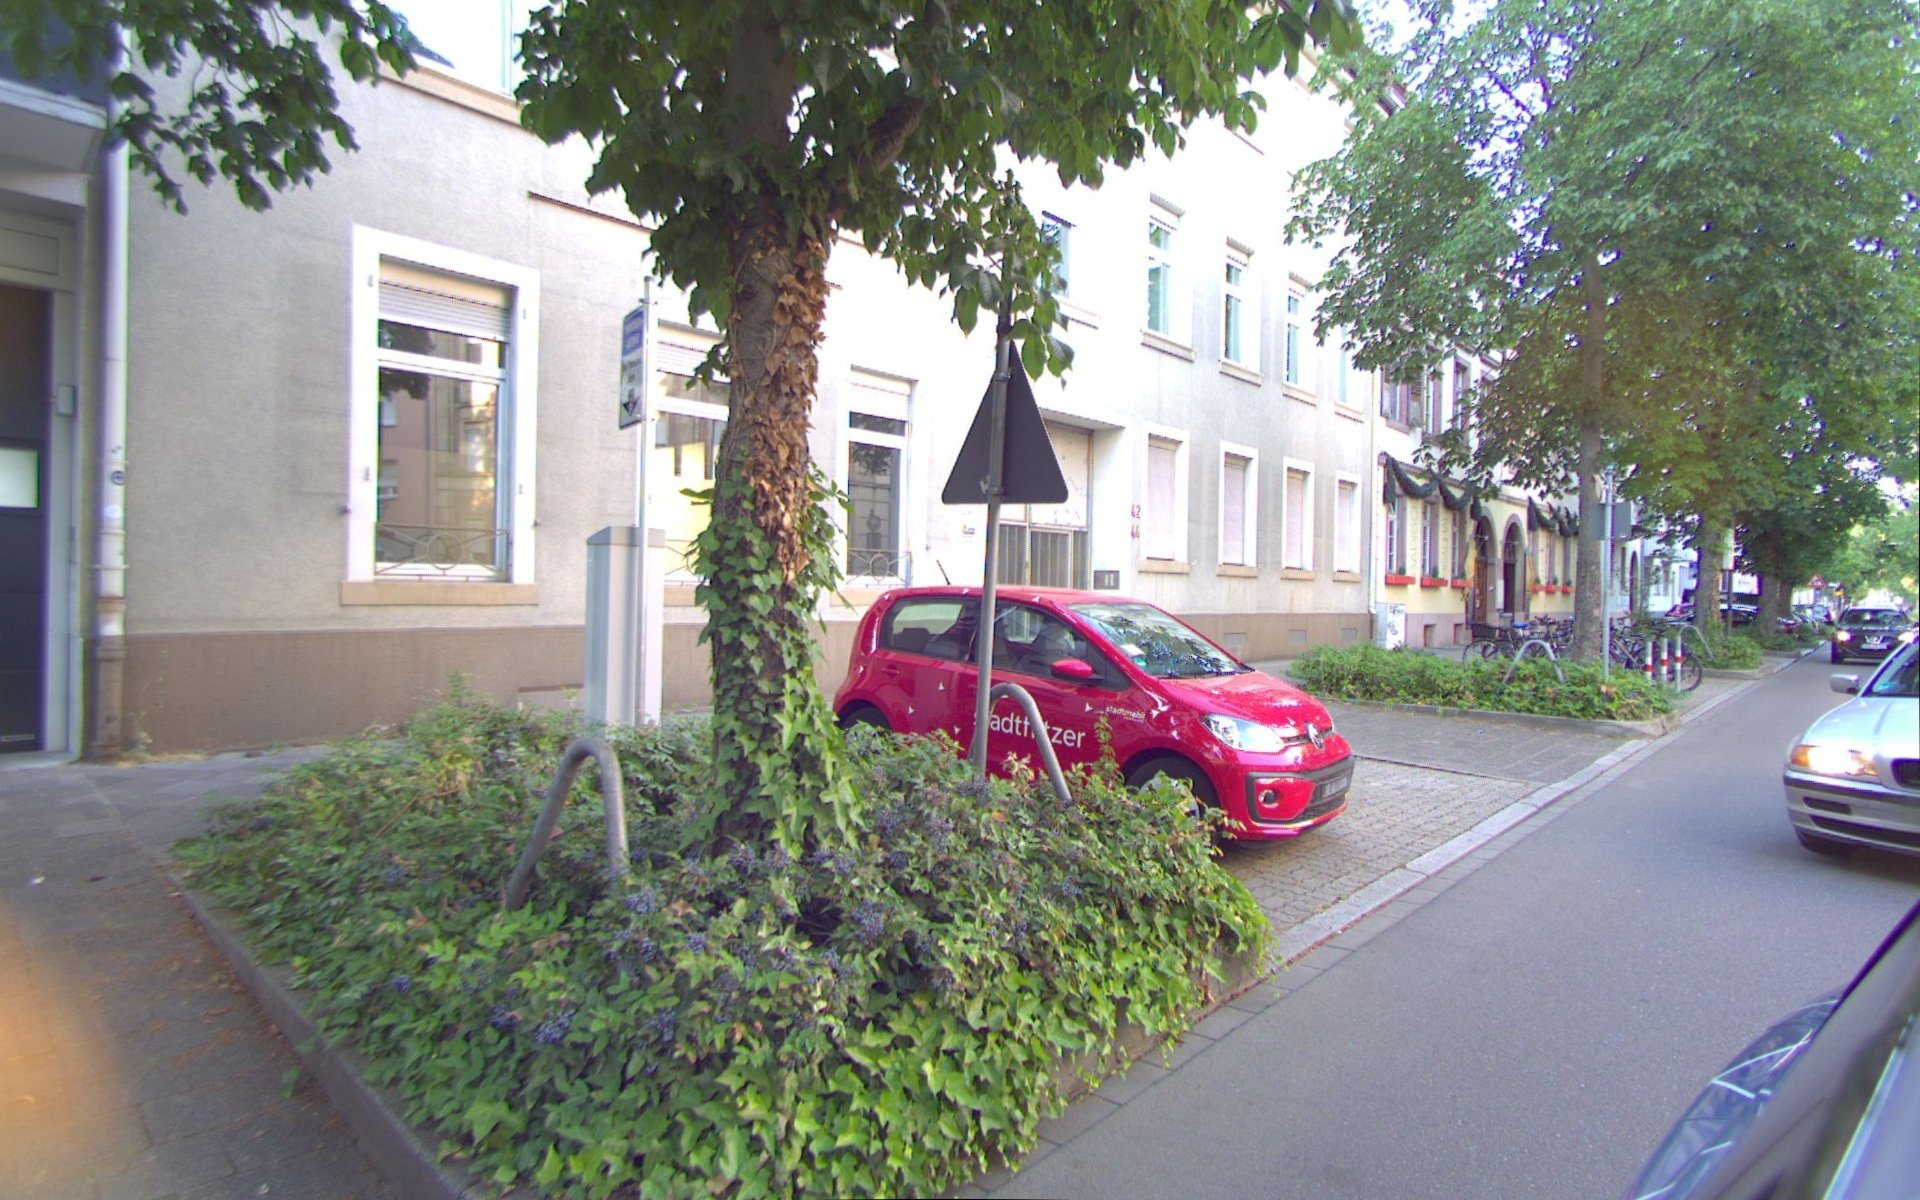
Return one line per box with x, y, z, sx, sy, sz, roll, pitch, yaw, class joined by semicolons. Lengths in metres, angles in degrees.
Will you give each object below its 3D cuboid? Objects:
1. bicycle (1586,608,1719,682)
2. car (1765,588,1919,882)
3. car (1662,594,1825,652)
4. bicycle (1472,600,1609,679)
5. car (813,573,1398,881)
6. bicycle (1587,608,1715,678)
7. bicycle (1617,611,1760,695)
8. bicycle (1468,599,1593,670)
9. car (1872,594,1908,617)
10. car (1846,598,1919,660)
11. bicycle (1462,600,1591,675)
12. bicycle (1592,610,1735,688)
12.988;0.818;19.016;2.019;1.242;0.528;2;1;39;bicycle
6.695;0.685;6.087;4.351;1.460;1.713;0;1;-35;car
26.612;0.731;34.455;4.232;1.761;1.715;2;1;43;car
10.082;0.659;17.625;2.014;1.242;0.529;2;1;33;bicycle
0.803;0.588;6.814;3.608;1.495;1.639;2;1;42;car
13.469;0.809;19.769;2.019;1.242;0.528;2;1;39;bicycle
11.850;0.831;16.536;1.835;1.242;0.529;2;1;33;bicycle
10.929;0.637;19.429;2.017;1.242;0.529;2;1;37;bicycle
65.930;0.350;71.750;1.801;1.571;3.937;2;1;43;car
25.593;0.745;27.672;1.802;1.571;3.935;2;1;45;car
10.298;0.650;18.435;2.014;1.242;0.529;2;1;33;bicycle
12.353;0.833;17.822;2.019;1.242;0.528;2;1;39;bicycle
